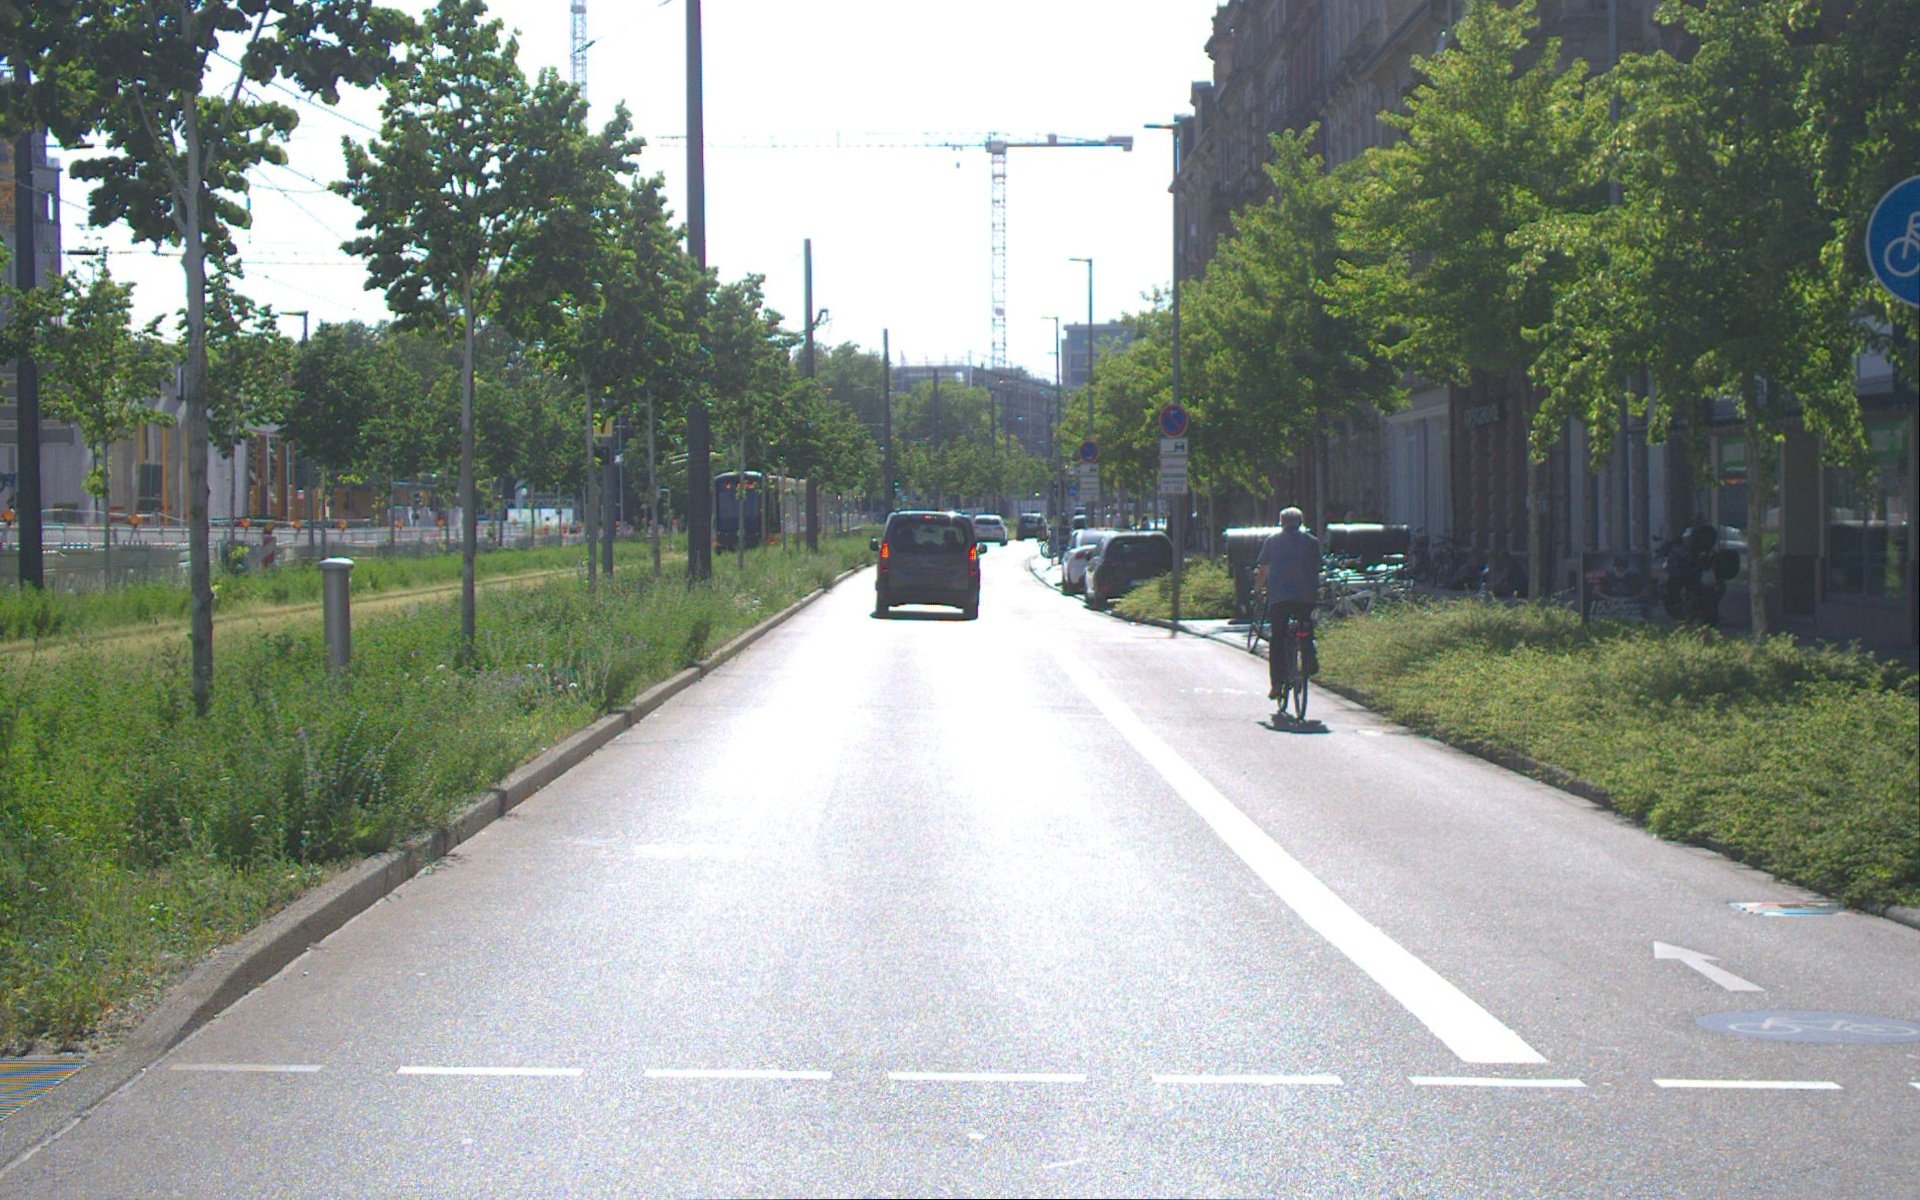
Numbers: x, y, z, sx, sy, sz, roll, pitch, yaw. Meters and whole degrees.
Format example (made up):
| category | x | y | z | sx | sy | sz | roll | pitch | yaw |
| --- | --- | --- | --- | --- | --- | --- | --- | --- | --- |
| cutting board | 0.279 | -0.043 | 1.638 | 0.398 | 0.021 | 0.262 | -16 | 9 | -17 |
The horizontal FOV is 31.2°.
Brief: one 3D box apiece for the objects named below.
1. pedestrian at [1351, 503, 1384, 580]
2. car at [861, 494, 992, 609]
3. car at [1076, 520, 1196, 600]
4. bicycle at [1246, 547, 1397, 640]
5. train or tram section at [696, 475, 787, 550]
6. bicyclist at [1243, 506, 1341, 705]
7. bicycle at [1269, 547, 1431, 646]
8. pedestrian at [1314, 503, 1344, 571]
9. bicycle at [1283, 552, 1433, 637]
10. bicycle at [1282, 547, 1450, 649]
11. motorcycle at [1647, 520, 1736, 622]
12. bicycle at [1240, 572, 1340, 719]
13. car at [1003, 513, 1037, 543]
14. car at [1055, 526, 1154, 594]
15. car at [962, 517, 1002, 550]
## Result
| category | x | y | z | sx | sy | sz | roll | pitch | yaw |
| --- | --- | --- | --- | --- | --- | --- | --- | --- | --- |
| pedestrian | 8.604 | -1.235 | 72.622 | 0.614 | 1.606 | 0.669 | -1 | 1 | -1 |
| car | -0.595 | -0.870 | 60.352 | 2.200 | 1.919 | 4.654 | -1 | 1 | -1 |
| car | 3.408 | -0.810 | 67.363 | 2.028 | 1.493 | 4.654 | -1 | 1 | -1 |
| bicycle | 4.617 | -0.087 | 43.937 | 1.792 | 1.027 | 0.527 | -5 | 1 | 0 |
| train or tram section | -8.321 | -3.306 | 132.024 | 2.756 | 2.733 | 9.864 | 1 | 1 | 1 |
| bicyclist | 2.854 | 0.033 | 29.609 | 0.684 | 1.667 | 0.922 | 2 | 1 | -1 |
| bicycle | 4.641 | -0.046 | 40.929 | 1.792 | 1.027 | 0.527 | -5 | 1 | 0 |
| pedestrian | 8.751 | -1.502 | 81.565 | 0.614 | 1.606 | 0.669 | -1 | 1 | -1 |
| bicycle | 4.920 | -0.075 | 42.561 | 1.792 | 1.027 | 0.527 | 0 | 1 | 0 |
| bicycle | 4.662 | -0.027 | 39.555 | 1.792 | 1.027 | 0.527 | -5 | 1 | 0 |
| motorcycle | 9.380 | -0.385 | 44.159 | 0.700 | 1.263 | 1.982 | -1 | 2 | -1 |
| bicycle | 2.821 | 0.371 | 29.518 | 0.601 | 1.177 | 1.869 | 2 | 1 | -1 |
| car | 3.719 | -4.463 | 214.279 | 1.993 | 1.831 | 4.000 | 1 | 1 | -1 |
| car | 3.322 | -0.955 | 79.774 | 2.028 | 1.493 | 4.530 | -1 | 1 | -1 |
| car | 1.169 | -3.530 | 183.585 | 1.993 | 1.723 | 4.000 | 1 | 1 | -1 |
